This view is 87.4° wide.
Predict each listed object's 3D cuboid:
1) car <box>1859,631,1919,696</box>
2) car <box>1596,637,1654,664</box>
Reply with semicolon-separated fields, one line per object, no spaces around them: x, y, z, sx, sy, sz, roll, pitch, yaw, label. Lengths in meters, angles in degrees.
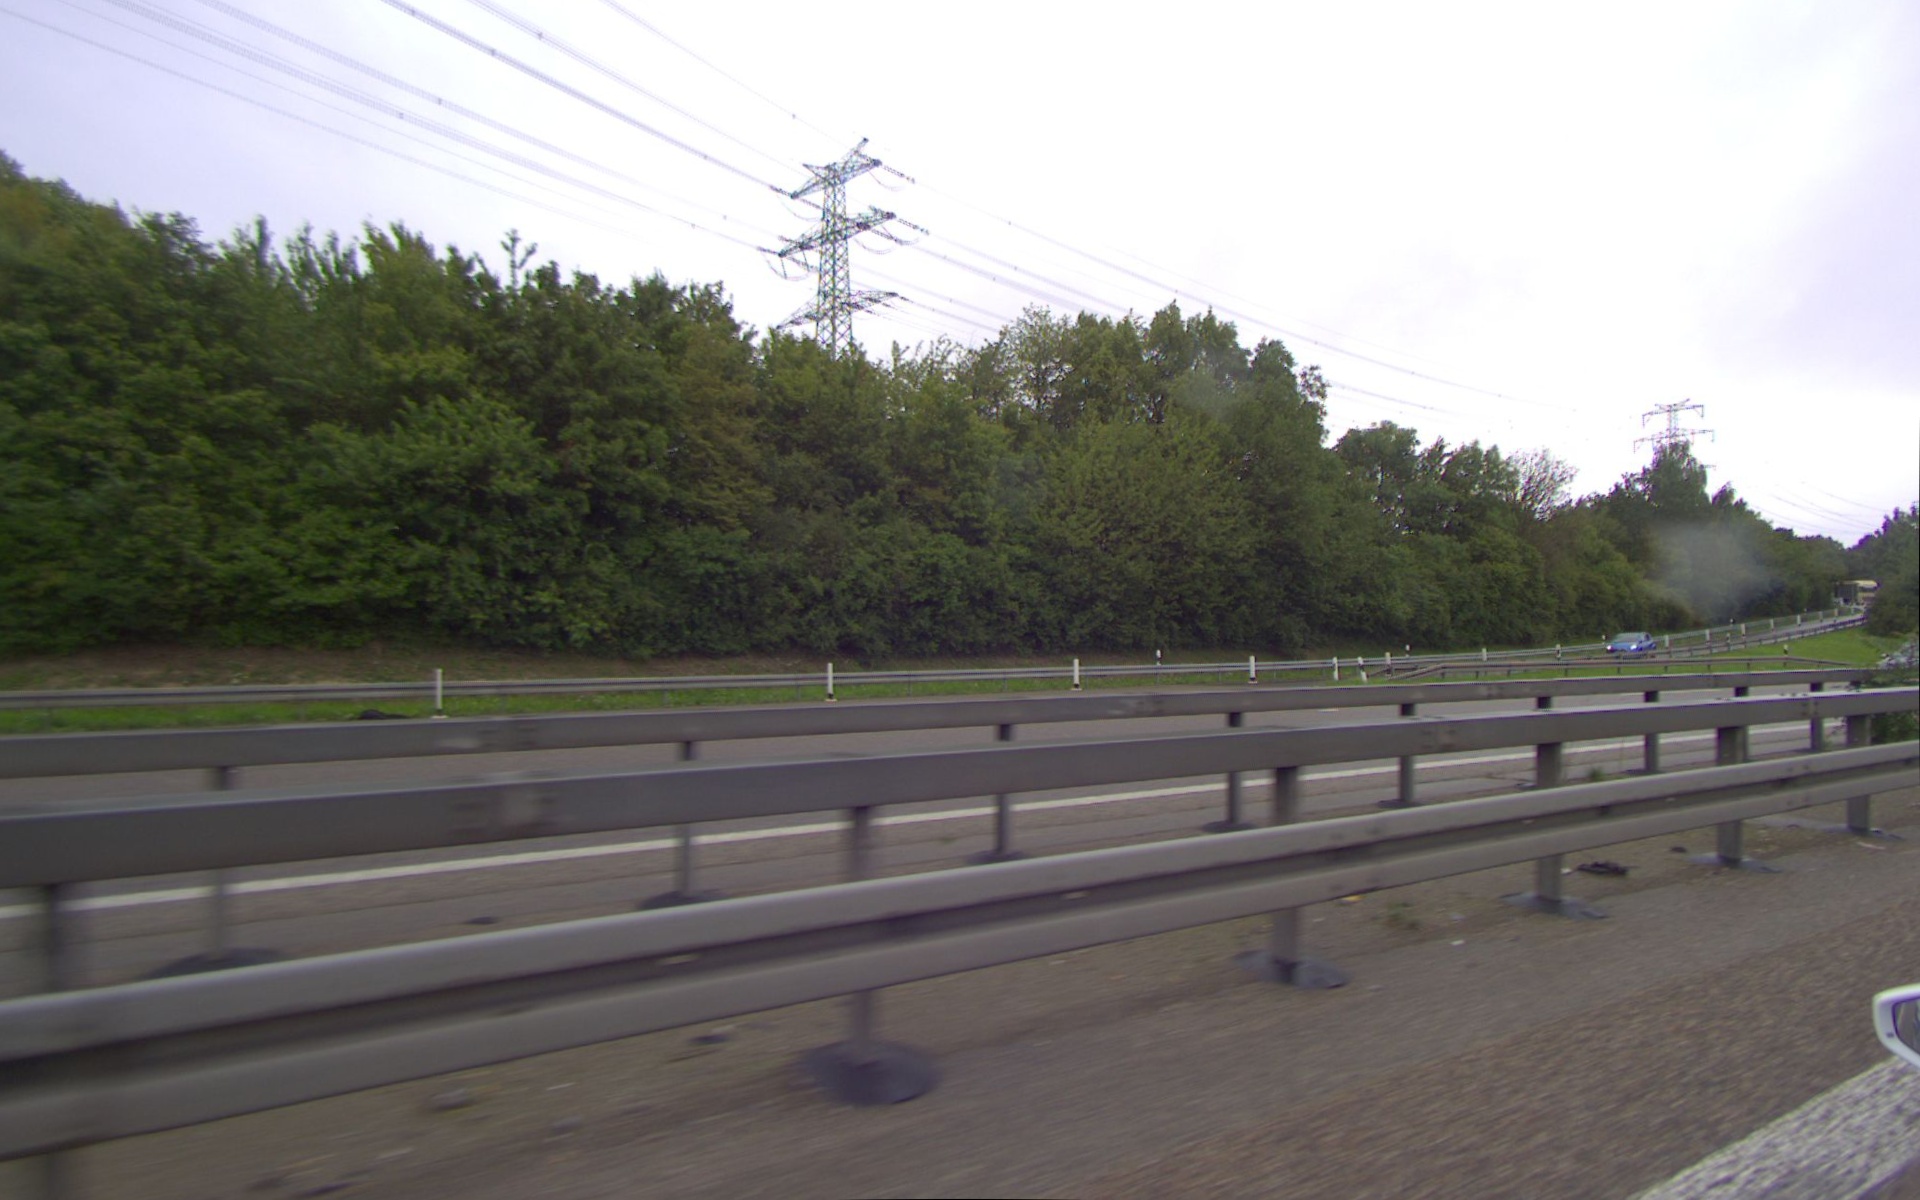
24.866;1.566;25.394;4.734;1.532;1.813;1;-3;-31;car
40.648;3.080;61.387;3.967;1.563;1.952;1;-2;-40;car
